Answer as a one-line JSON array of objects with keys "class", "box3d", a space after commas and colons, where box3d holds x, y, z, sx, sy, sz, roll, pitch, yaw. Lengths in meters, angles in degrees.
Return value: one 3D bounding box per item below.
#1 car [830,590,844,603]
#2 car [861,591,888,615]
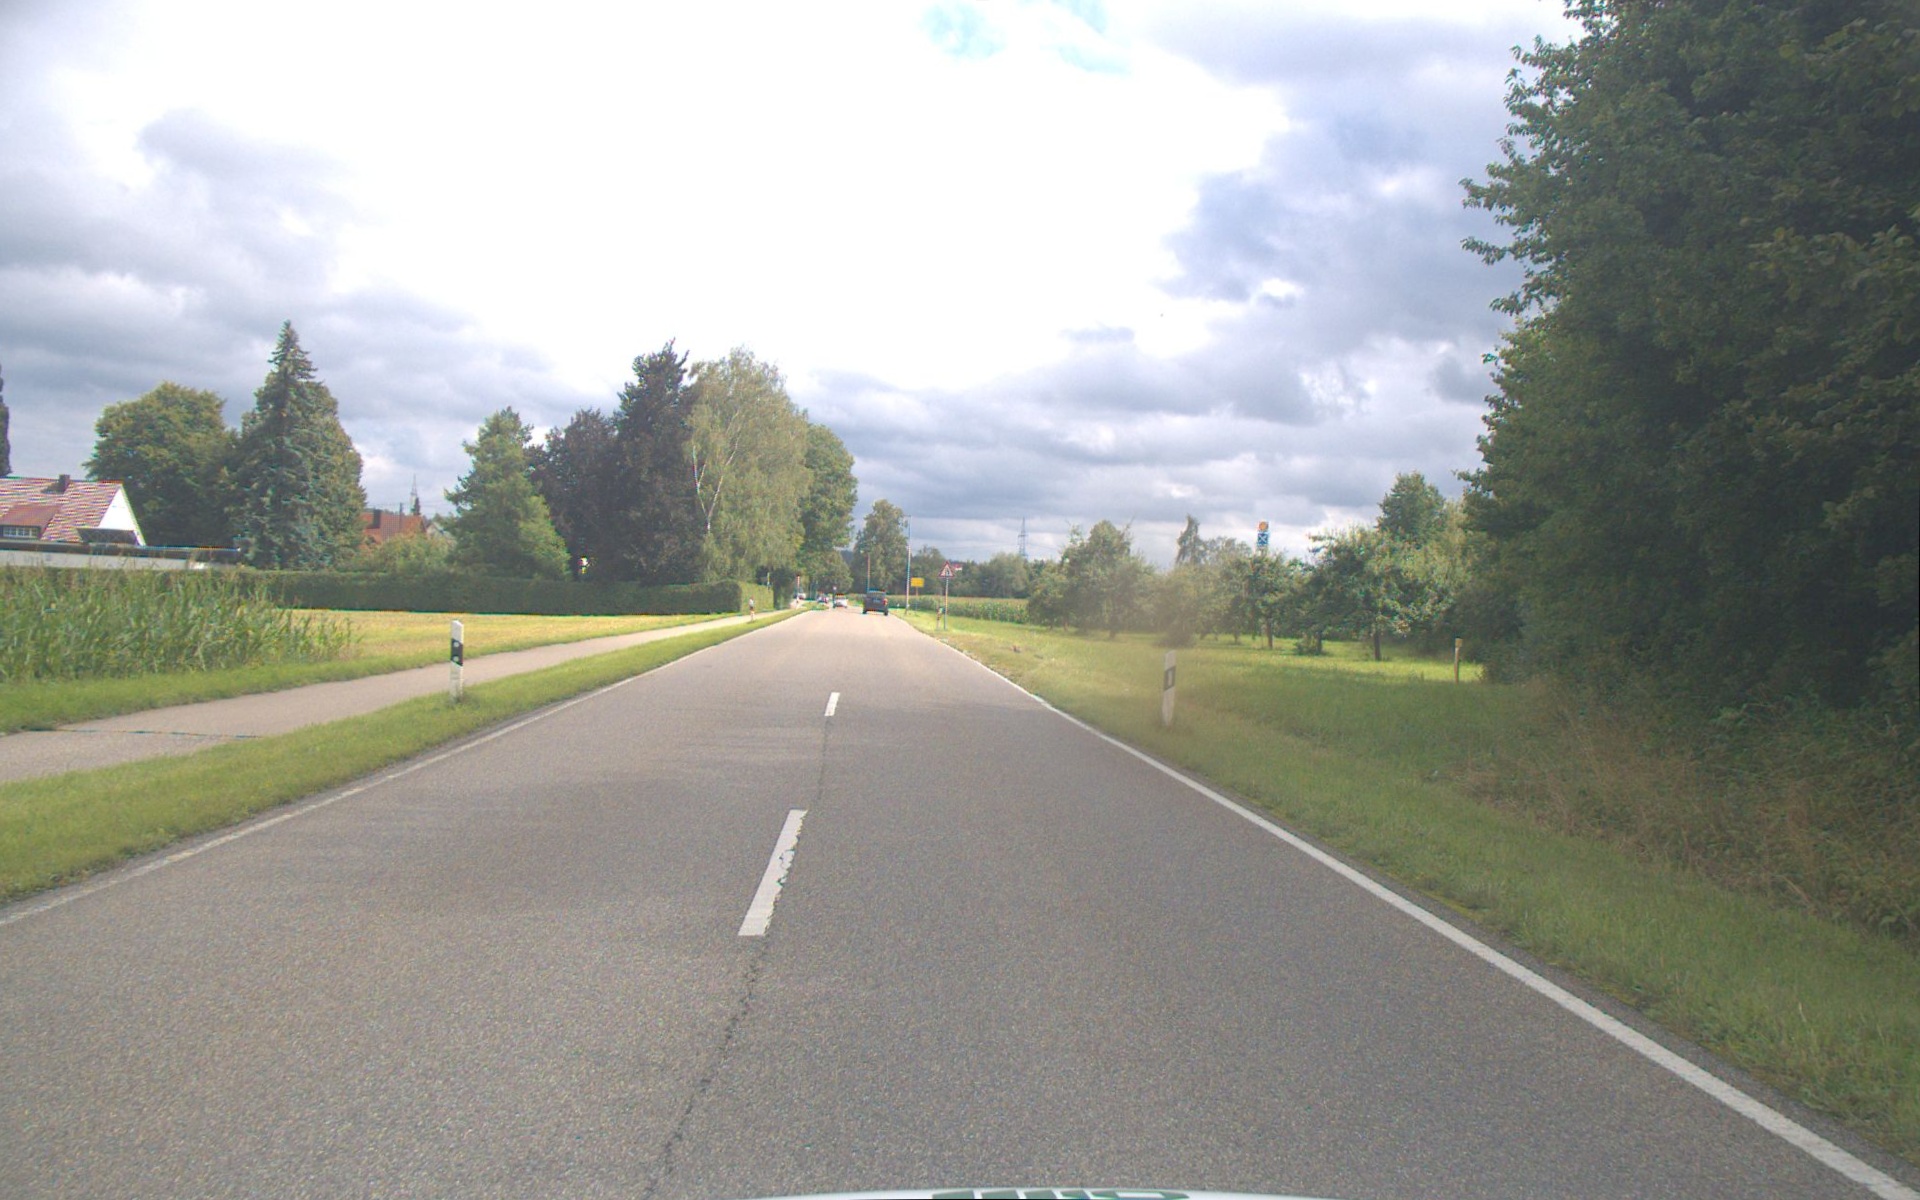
[{"class": "car", "box3d": [-14.831, -0.391, 199.524, 1.661, 1.484, 3.541, 1, 0, -3]}, {"class": "car", "box3d": [-6.241, 0.182, 121.419, 1.868, 1.695, 3.998, 1, 0, -2]}]
